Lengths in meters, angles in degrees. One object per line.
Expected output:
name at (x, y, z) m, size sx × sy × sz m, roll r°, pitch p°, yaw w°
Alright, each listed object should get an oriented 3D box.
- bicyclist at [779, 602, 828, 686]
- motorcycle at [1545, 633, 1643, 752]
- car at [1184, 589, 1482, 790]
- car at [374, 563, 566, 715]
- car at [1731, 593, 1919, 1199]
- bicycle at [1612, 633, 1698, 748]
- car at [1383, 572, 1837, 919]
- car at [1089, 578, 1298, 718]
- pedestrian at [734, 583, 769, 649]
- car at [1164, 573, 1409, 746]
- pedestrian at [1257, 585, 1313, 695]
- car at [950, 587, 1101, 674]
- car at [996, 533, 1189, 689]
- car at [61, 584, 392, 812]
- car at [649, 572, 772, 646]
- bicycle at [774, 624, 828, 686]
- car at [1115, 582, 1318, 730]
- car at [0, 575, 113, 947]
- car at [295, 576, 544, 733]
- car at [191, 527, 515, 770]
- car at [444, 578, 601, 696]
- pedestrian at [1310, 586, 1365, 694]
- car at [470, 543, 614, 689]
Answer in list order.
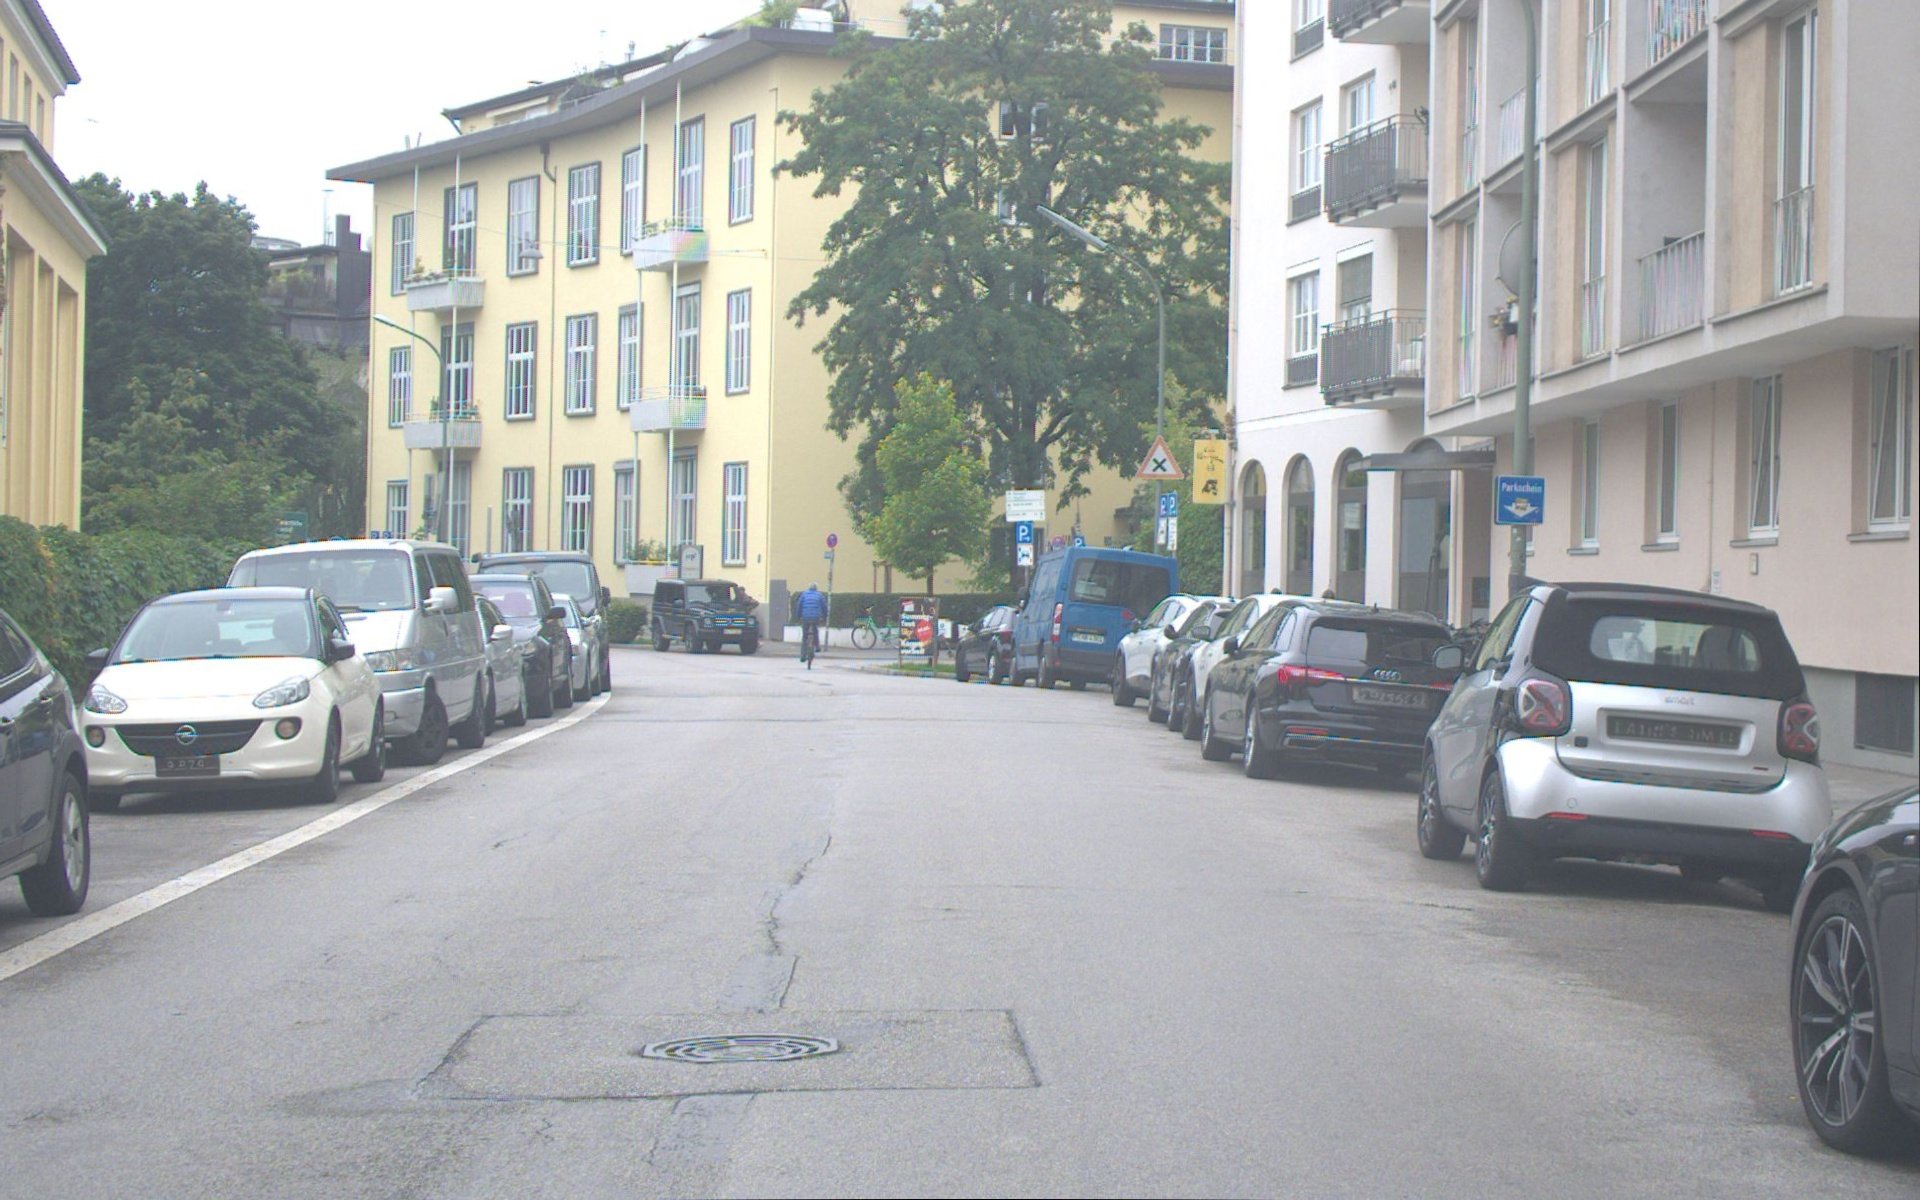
bicyclist at (-3.351, 0.932, 73.602) m, size 0.914 × 1.758 × 1.215 m, roll 1°, pitch 0°, yaw -8°
motorcycle at (7.059, 1.017, 38.341) m, size 0.635 × 1.267 × 2.041 m, roll 0°, pitch 0°, yaw -2°
car at (2.965, 0.671, 28.229) m, size 1.827 × 1.377 × 4.491 m, roll 3°, pitch 1°, yaw -1°
car at (-5.626, 0.406, 39.909) m, size 1.702 × 1.601 × 4.491 m, roll -2°, pitch 1°, yaw -2°
car at (3.188, 0.771, 7.155) m, size 1.873 × 1.443 × 4.701 m, roll 2°, pitch 1°, yaw -2°
bicycle at (7.263, 0.931, 35.975) m, size 0.513 × 1.153 × 1.601 m, roll 0°, pitch 0°, yaw -2°
car at (3.303, 0.680, 18.053) m, size 1.614 × 1.511 × 3.380 m, roll 5°, pitch 1°, yaw 0°
car at (2.953, 0.577, 44.379) m, size 1.775 × 1.517 × 4.305 m, roll 5°, pitch 0°, yaw -7°
pedestrian at (-5.604, 0.435, 92.262) m, size 0.848 × 1.751 × 0.954 m, roll 0°, pitch 1°, yaw -8°
car at (3.163, 0.547, 34.078) m, size 1.701 × 1.463 × 4.120 m, roll 5°, pitch 0°, yaw -3°
pedestrian at (4.862, 0.596, 51.446) m, size 0.678 × 1.623 × 0.830 m, roll 0°, pitch -1°, yaw -6°
car at (1.131, 0.521, 61.427) m, size 1.714 × 1.390 × 4.001 m, roll 4°, pitch -1°, yaw -13°
car at (2.071, 0.234, 55.458) m, size 2.108 × 2.206 × 5.029 m, roll 6°, pitch -2°, yaw -7°
car at (-5.094, 0.632, 24.280) m, size 1.666 × 1.404 × 3.559 m, roll -2°, pitch 1°, yaw -2°
car at (-6.719, 0.228, 92.043) m, size 1.873 × 1.881 × 4.620 m, roll 1°, pitch 1°, yaw -23°
bicycle at (-3.418, 1.166, 73.765) m, size 0.920 × 1.248 × 2.322 m, roll 1°, pitch 1°, yaw -8°
car at (2.856, 0.585, 39.181) m, size 1.772 × 1.424 × 4.693 m, roll 5°, pitch 0°, yaw -1°
car at (-4.731, 0.687, 13.920) m, size 1.717 × 1.476 × 4.221 m, roll -3°, pitch 1°, yaw -3°
car at (-5.387, 0.510, 34.786) m, size 1.804 × 1.373 × 4.491 m, roll -4°, pitch 0°, yaw -1°
car at (-5.069, 0.352, 29.360) m, size 1.893 × 1.792 × 4.881 m, roll -3°, pitch 1°, yaw -1°
car at (-5.725, 0.450, 45.348) m, size 1.706 × 1.361 × 4.002 m, roll -3°, pitch 1°, yaw -3°
pedestrian at (5.654, 0.590, 51.558) m, size 0.711 × 1.599 × 0.700 m, roll 0°, pitch 0°, yaw -2°
car at (-6.104, 0.190, 50.322) m, size 1.925 × 1.972 × 4.623 m, roll -2°, pitch 1°, yaw -7°
